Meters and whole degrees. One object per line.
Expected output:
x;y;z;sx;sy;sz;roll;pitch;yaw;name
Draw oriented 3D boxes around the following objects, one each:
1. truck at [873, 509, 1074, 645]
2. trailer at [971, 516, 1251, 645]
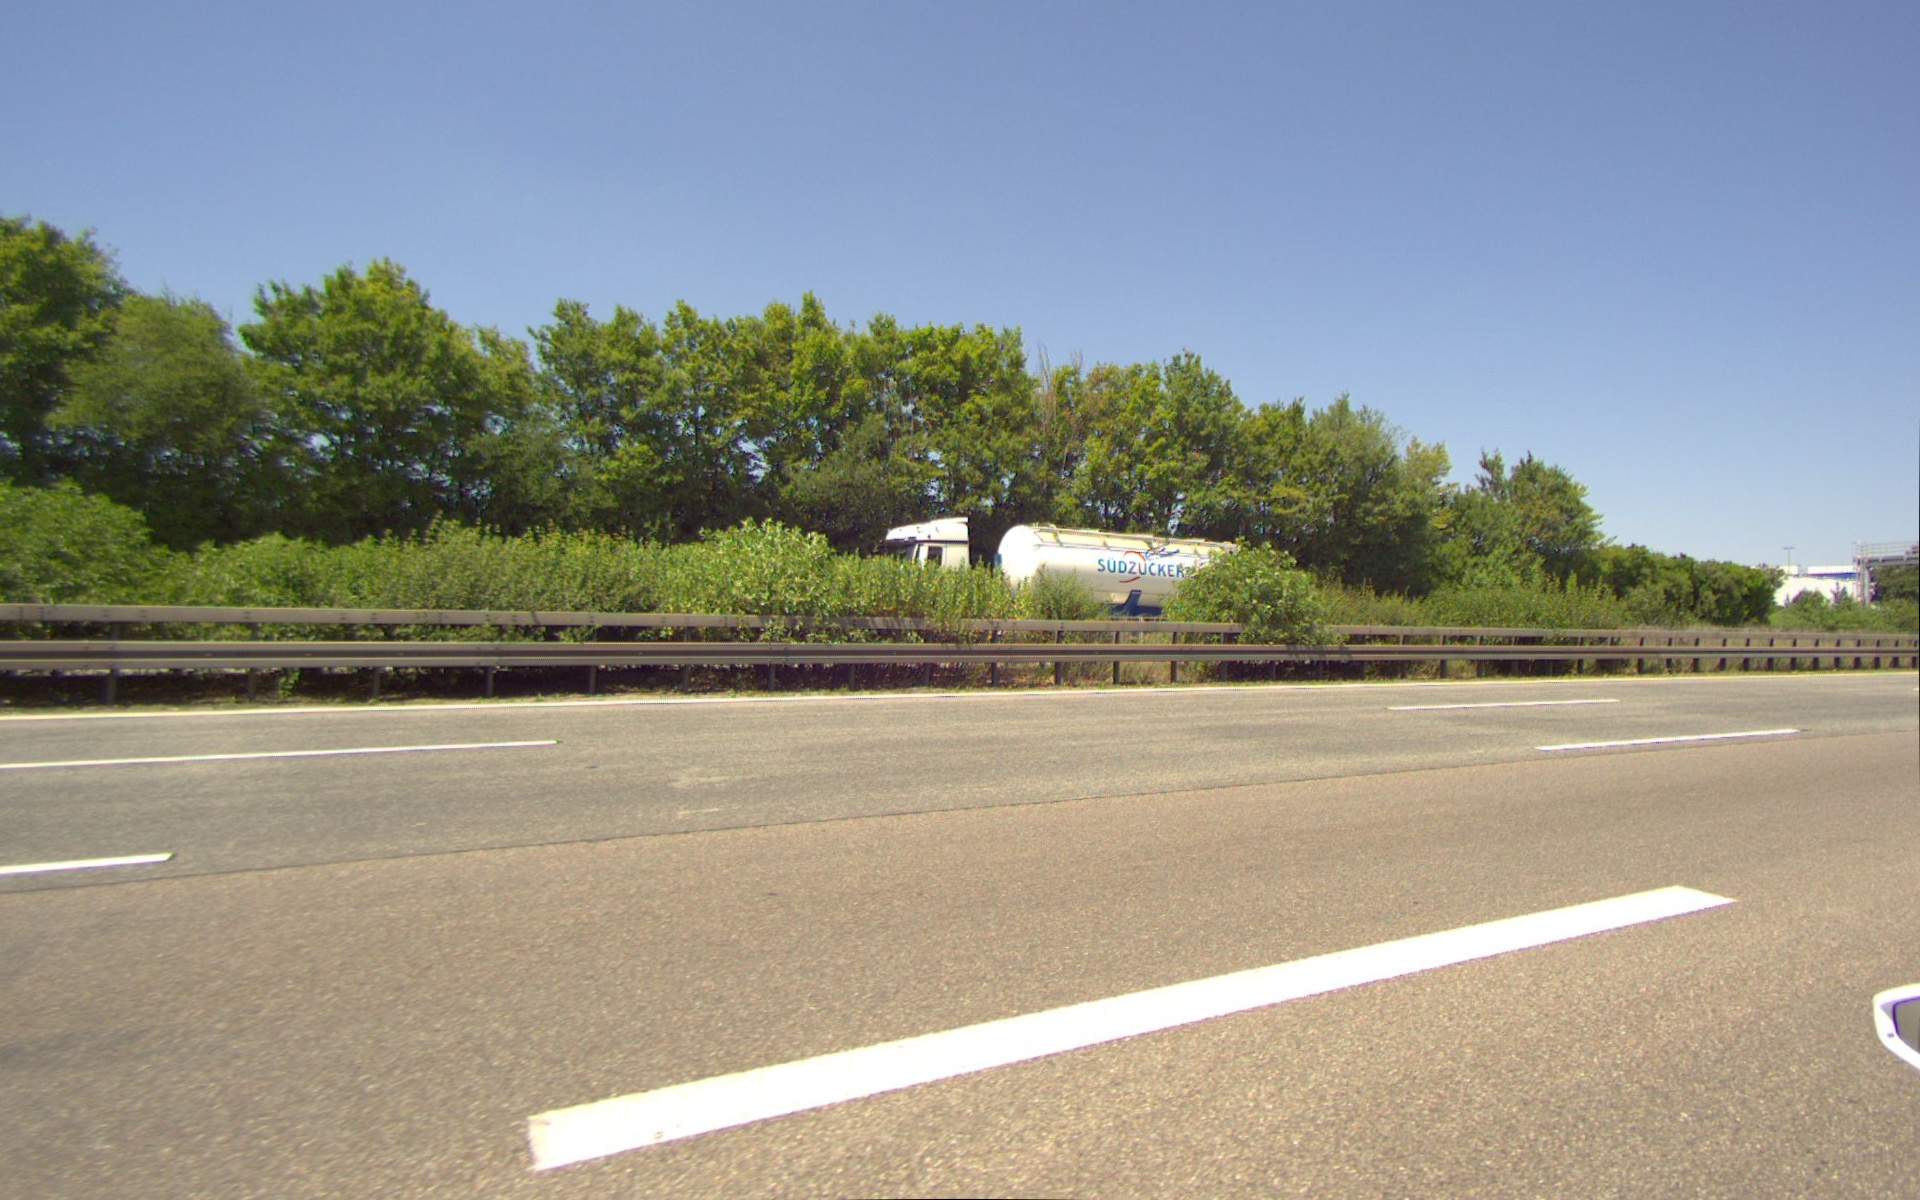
0.446;-0.630;31.472;5.672;3.941;2.685;1;0;-27;truck
5.250;-0.531;33.989;9.609;3.941;2.679;1;0;-28;trailer
